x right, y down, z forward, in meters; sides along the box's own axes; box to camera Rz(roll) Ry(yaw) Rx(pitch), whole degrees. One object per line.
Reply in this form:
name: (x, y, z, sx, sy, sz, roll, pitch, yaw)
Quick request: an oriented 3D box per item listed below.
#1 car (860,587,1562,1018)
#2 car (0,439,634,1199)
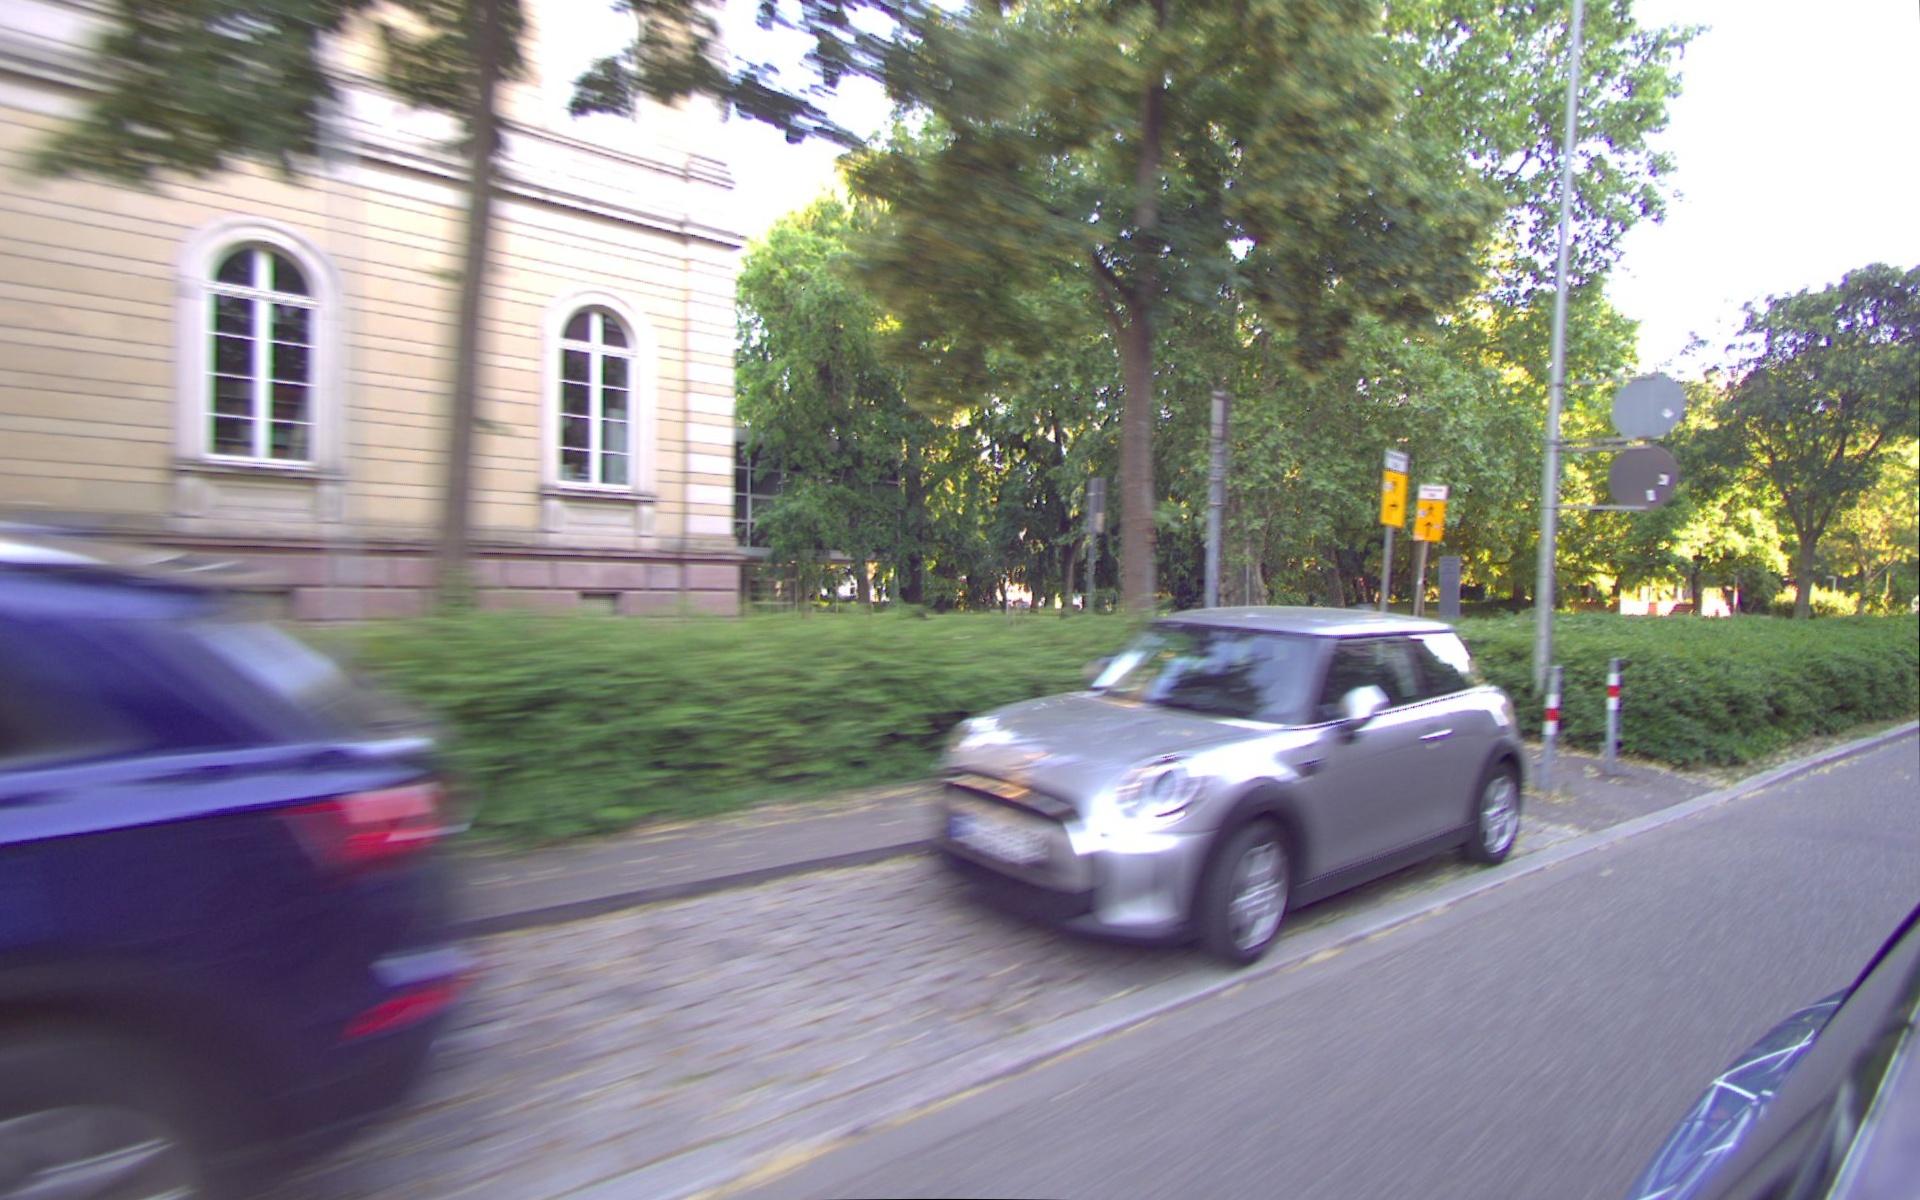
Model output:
car: (1.567, 0.682, 5.465, 3.930, 1.456, 1.727, -1, 1, -40)
car: (-3.177, 0.579, 1.773, 4.609, 1.708, 1.886, -1, 1, -38)
